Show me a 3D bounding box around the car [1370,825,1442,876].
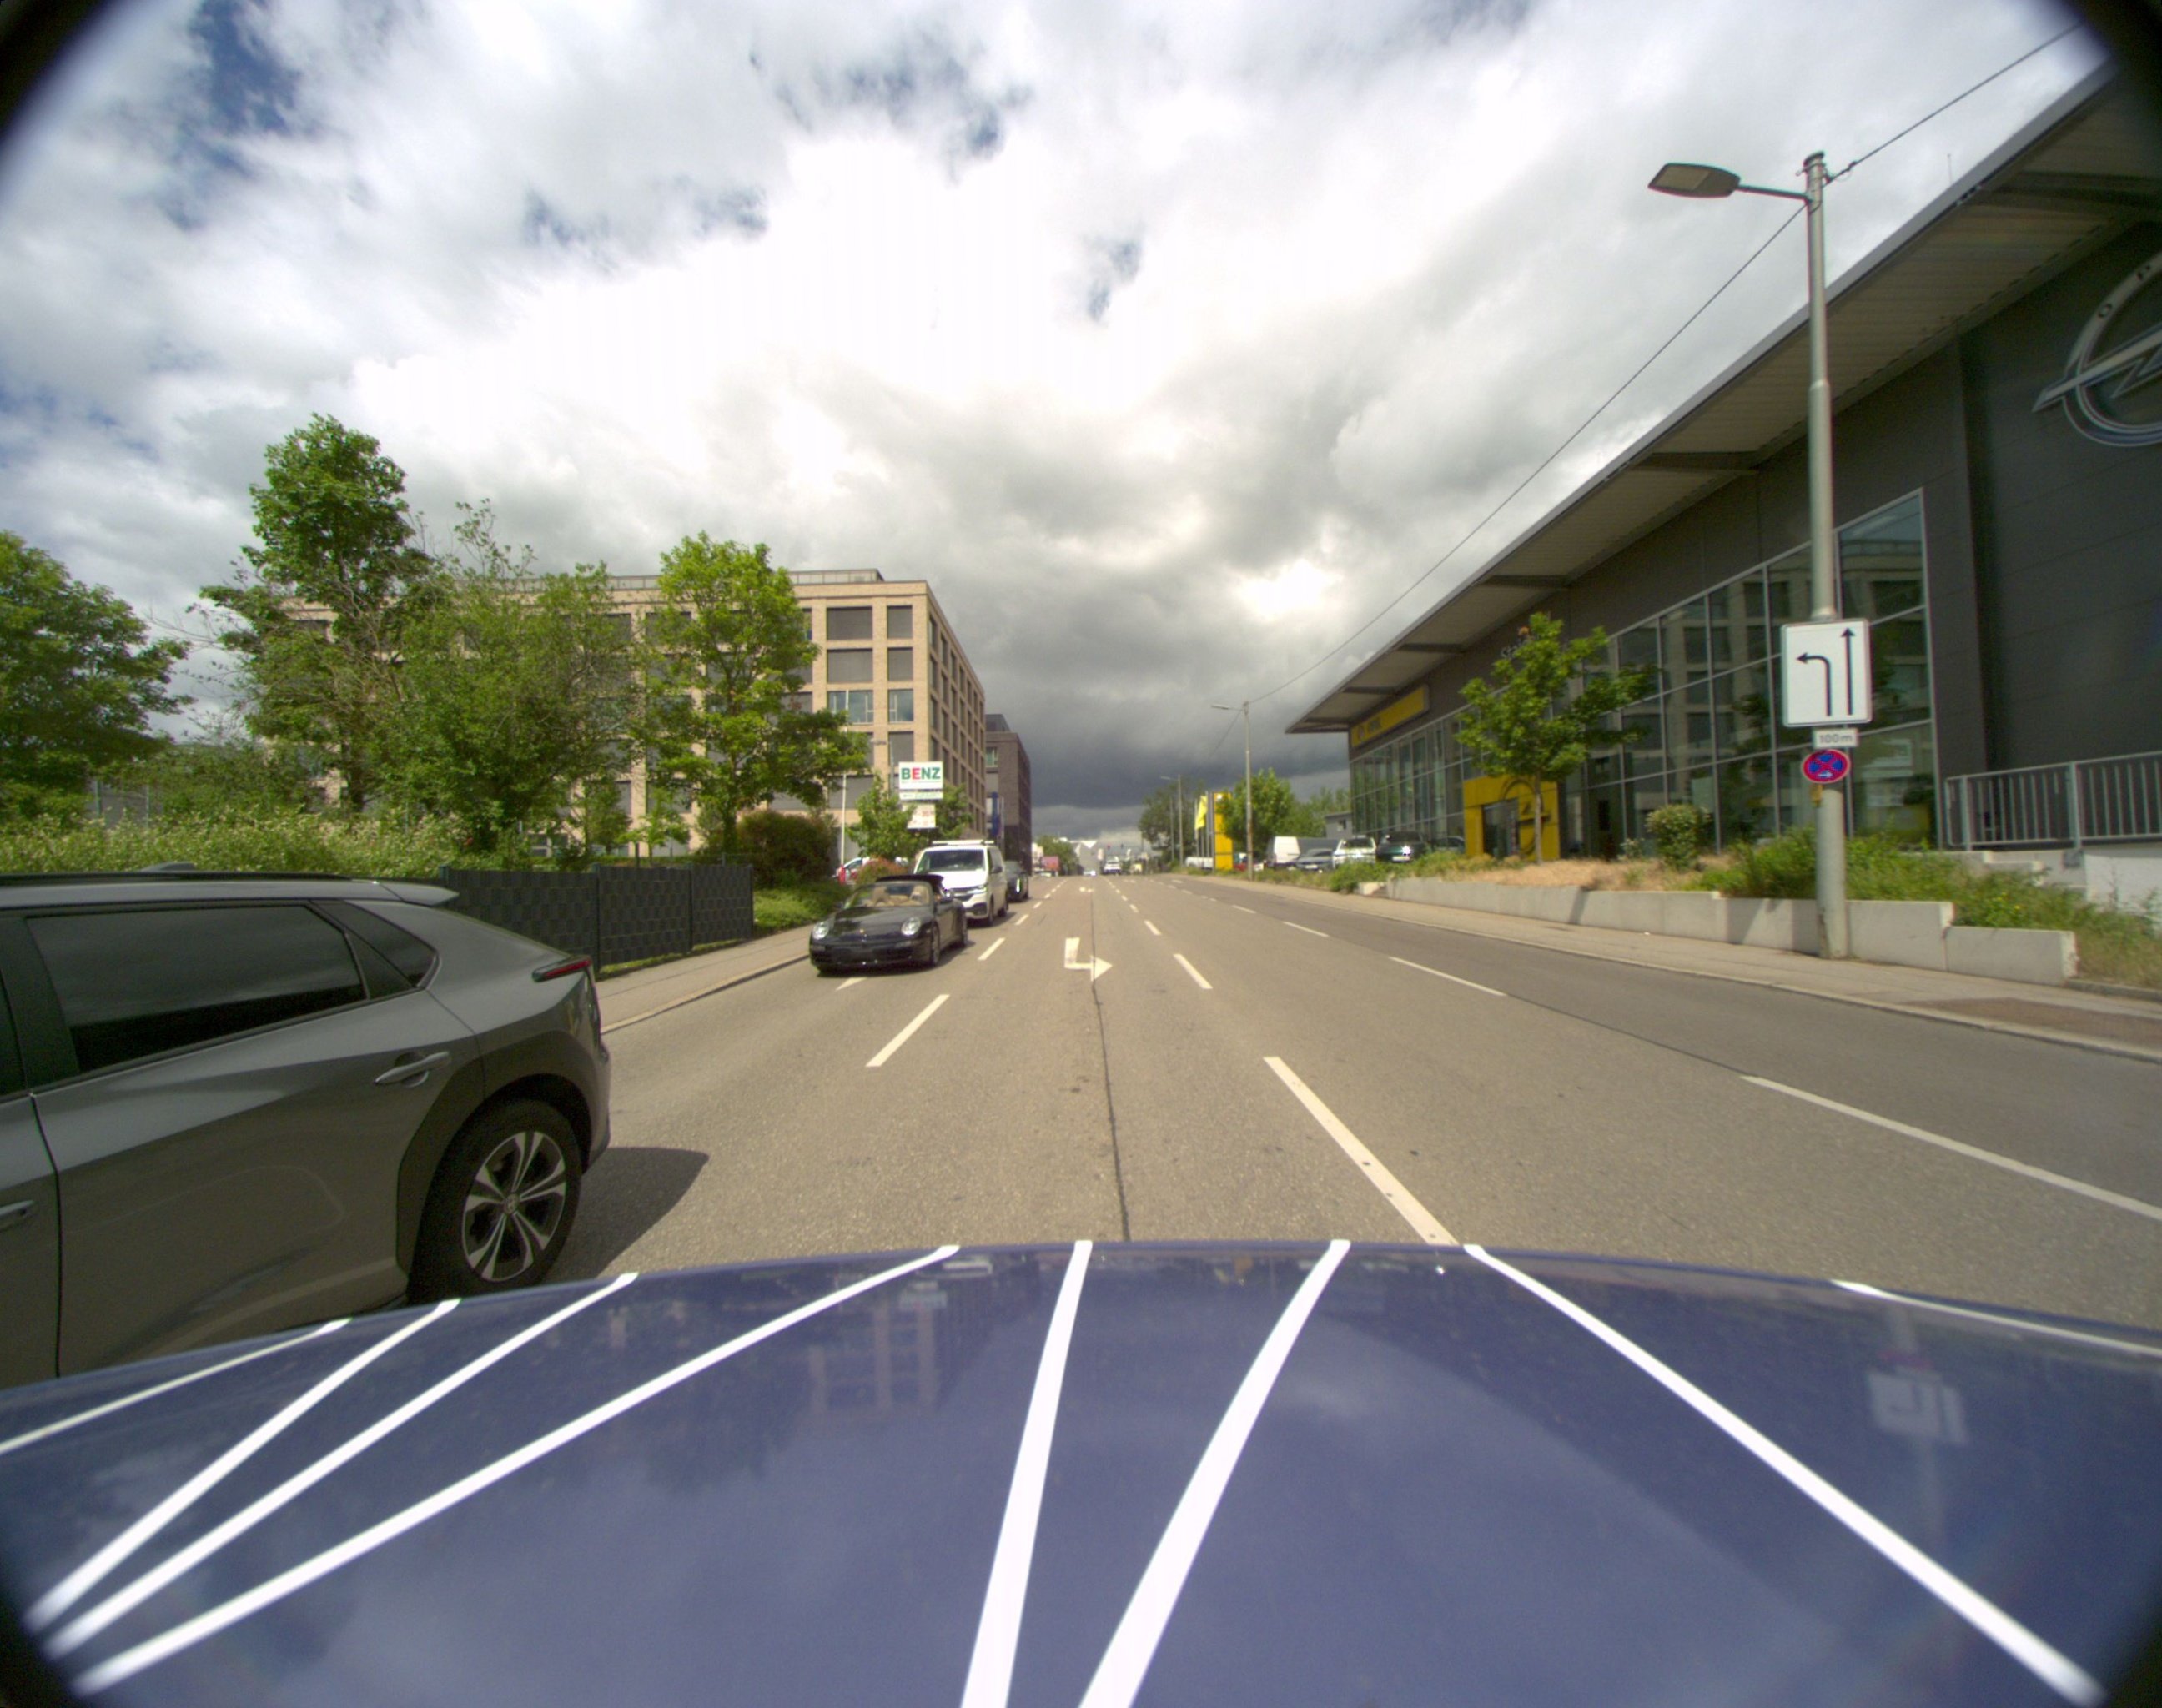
[{"bbox_3d":[12.370,-0.106,28.786,1.818,1.603,4.117,-7,-3,31],"label":"car"}]

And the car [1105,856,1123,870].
[{"bbox_3d":[3.725,1.018,86.586,1.924,1.604,4.416,0,0,1],"label":"car"}]

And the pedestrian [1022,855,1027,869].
[{"bbox_3d":[-6.249,0.900,84.048,0.578,1.497,0.542,-1,1,1],"label":"pedestrian"}]

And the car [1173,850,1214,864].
[{"bbox_3d":[12.499,0.355,84.430,4.252,1.473,2.095,-1,0,-2],"label":"car"}]

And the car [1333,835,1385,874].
[{"bbox_3d":[12.328,0.009,33.566,1.793,1.604,4.115,-1,1,25],"label":"car"}]

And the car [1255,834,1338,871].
[{"bbox_3d":[13.508,-0.101,47.823,4.532,2.182,2.178,-1,1,-3],"label":"car"}]

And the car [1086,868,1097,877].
[{"bbox_3d":[1.839,3.103,131.045,1.866,1.398,4.000,-1,0,1],"label":"car"}]

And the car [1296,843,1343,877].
[{"bbox_3d":[12.273,0.295,38.958,1.794,1.604,4.116,-1,0,24],"label":"car"}]

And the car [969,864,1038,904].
[{"bbox_3d":[-2.776,1.048,28.199,1.777,1.267,4.569,-1,0,4],"label":"car"}]

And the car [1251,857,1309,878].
[{"bbox_3d":[14.962,1.028,57.287,3.946,1.518,1.561,-1,0,-2],"label":"car"}]

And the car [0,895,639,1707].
[{"bbox_3d":[-2.995,1.020,1.040,1.924,1.604,4.683,-3,0,1],"label":"car"}]

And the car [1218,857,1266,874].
[{"bbox_3d":[13.706,0.988,64.797,3.669,1.401,1.815,-1,0,2],"label":"car"}]

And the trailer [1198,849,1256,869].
[{"bbox_3d":[13.146,0.430,68.683,4.835,1.742,2.095,-1,0,-3],"label":"trailer"}]

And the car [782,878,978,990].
[{"bbox_3d":[-2.967,1.135,12.323,1.777,1.267,4.569,-3,0,2],"label":"car"}]

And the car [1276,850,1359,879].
[{"bbox_3d":[13.336,0.578,43.014,4.108,1.604,1.797,-1,0,-8],"label":"car"}]

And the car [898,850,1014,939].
[{"bbox_3d":[-2.932,0.884,18.834,1.964,1.840,4.645,-3,0,1],"label":"car"}]

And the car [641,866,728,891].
[{"bbox_3d":[-23.378,1.418,44.862,4.219,1.410,1.735,-1,0,-1],"label":"car"}]

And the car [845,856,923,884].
[{"bbox_3d":[-11.723,0.935,45.476,4.220,1.567,1.735,-1,0,-4],"label":"car"}]
